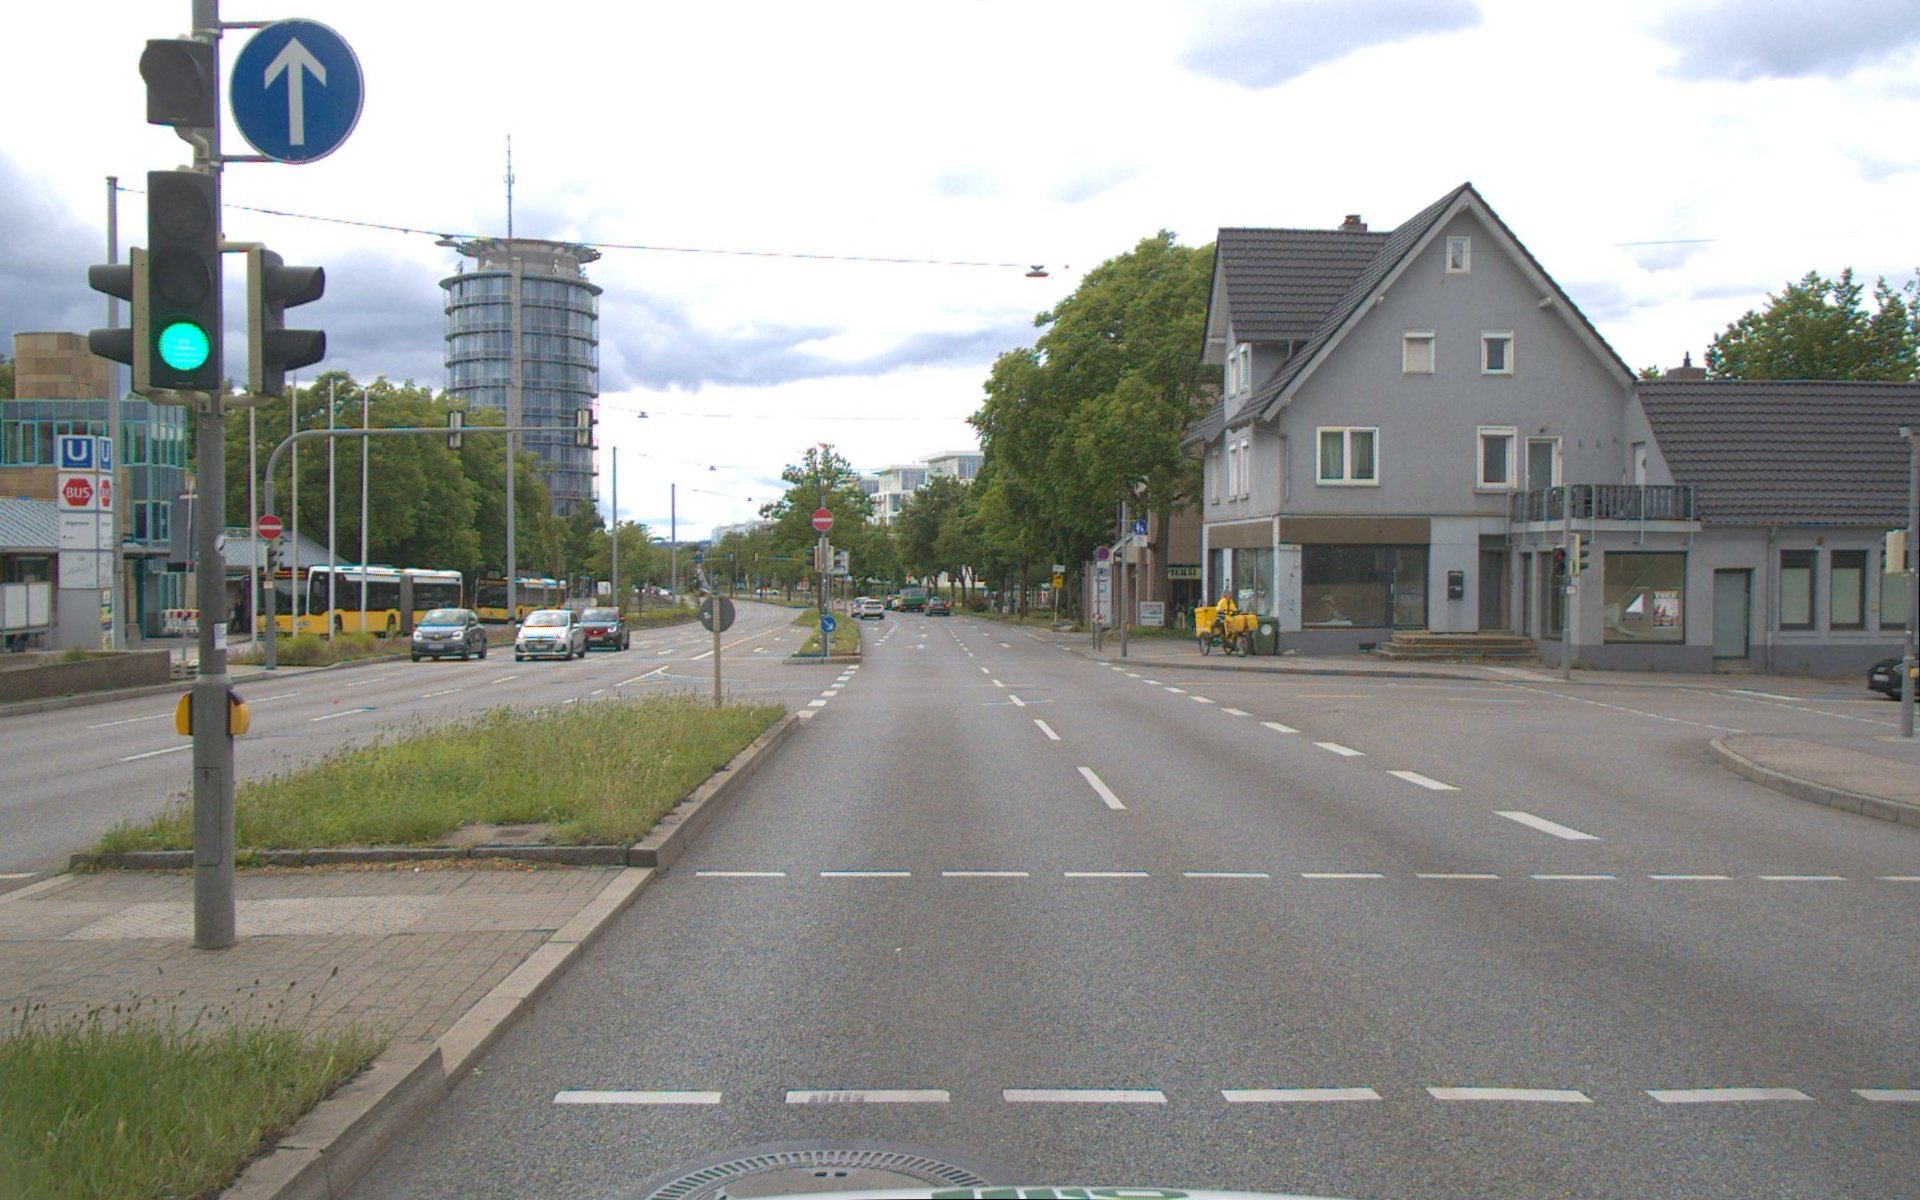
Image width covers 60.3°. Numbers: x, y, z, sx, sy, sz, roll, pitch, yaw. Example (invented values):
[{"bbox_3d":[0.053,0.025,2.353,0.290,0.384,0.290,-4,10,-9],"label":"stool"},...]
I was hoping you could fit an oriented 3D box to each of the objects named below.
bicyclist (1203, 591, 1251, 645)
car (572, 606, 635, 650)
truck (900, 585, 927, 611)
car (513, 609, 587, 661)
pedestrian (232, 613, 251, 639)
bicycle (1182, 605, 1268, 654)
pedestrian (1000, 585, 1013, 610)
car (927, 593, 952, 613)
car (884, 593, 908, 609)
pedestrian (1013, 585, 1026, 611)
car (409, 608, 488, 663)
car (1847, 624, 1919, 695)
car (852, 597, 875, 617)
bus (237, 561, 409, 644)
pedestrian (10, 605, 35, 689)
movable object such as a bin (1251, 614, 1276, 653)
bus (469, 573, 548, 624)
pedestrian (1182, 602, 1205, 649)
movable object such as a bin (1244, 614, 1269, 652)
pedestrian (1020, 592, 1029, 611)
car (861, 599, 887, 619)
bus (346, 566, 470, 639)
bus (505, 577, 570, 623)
[{"bbox_3d":[6.952,0.454,43.064,1.061,1.381,0.623,0,-1,-26],"label":"bicyclist"},{"bbox_3d":[-12.667,0.976,58.979,1.668,1.518,3.559,-1,0,-3],"label":"car"},{"bbox_3d":[-4.424,-0.170,155.808,2.207,2.459,4.927,0,0,-5],"label":"truck"},{"bbox_3d":[-12.378,1.025,50.095,1.651,1.488,3.551,0,0,-6],"label":"car"},{"bbox_3d":[-30.071,1.067,69.192,0.512,1.076,0.587,1,-1,-1],"label":"pedestrian"},{"bbox_3d":[6.904,0.751,43.163,1.060,1.239,2.420,0,0,-24],"label":"bicycle"},{"bbox_3d":[3.743,-0.190,133.902,0.951,2.049,0.981,1,-1,-2],"label":"pedestrian"},{"bbox_3d":[-1.662,0.236,133.858,1.850,1.520,4.100,1,1,2],"label":"car"},{"bbox_3d":[-6.687,0.128,173.158,2.207,1.676,4.926,-1,0,-6],"label":"car"},{"bbox_3d":[4.824,-0.156,133.779,0.951,2.011,0.981,1,-1,-2],"label":"pedestrian"},{"bbox_3d":[-15.487,1.047,50.182,1.652,1.606,3.344,0,0,-6],"label":"car"},{"bbox_3d":[21.007,1.271,34.623,3.908,1.401,1.869,1,0,-4],"label":"car"},{"bbox_3d":[-7.961,0.557,136.662,1.786,1.567,4.112,-2,-1,-3],"label":"car"},{"bbox_3d":[-27.110,0.123,71.061,2.927,3.307,10.173,-1,0,3],"label":"bus"},{"bbox_3d":[-18.431,0.918,32.518,0.414,1.619,0.353,0,-1,-30],"label":"pedestrian"},{"bbox_3d":[7.987,0.877,43.545,0.518,0.997,0.736,-1,0,-1],"label":"movable object such as a bin"},{"bbox_3d":[-30.836,-0.064,113.378,3.082,3.281,10.278,-1,0,-3],"label":"bus"},{"bbox_3d":[9.539,1.047,67.579,0.691,1.811,0.870,6,-6,3],"label":"pedestrian"},{"bbox_3d":[7.957,0.874,44.335,0.518,0.997,0.736,-1,0,-1],"label":"movable object such as a bin"},{"bbox_3d":[5.422,0.146,138.492,0.638,1.597,0.669,0,-1,-9],"label":"pedestrian"},{"bbox_3d":[-6.566,0.700,126.186,1.953,1.503,4.254,0,0,-3],"label":"car"},{"bbox_3d":[-26.578,0.147,80.086,2.927,3.327,7.878,-1,0,3],"label":"bus"},{"bbox_3d":[-31.203,-0.002,122.376,3.081,3.281,7.761,-1,0,-2],"label":"bus"}]
